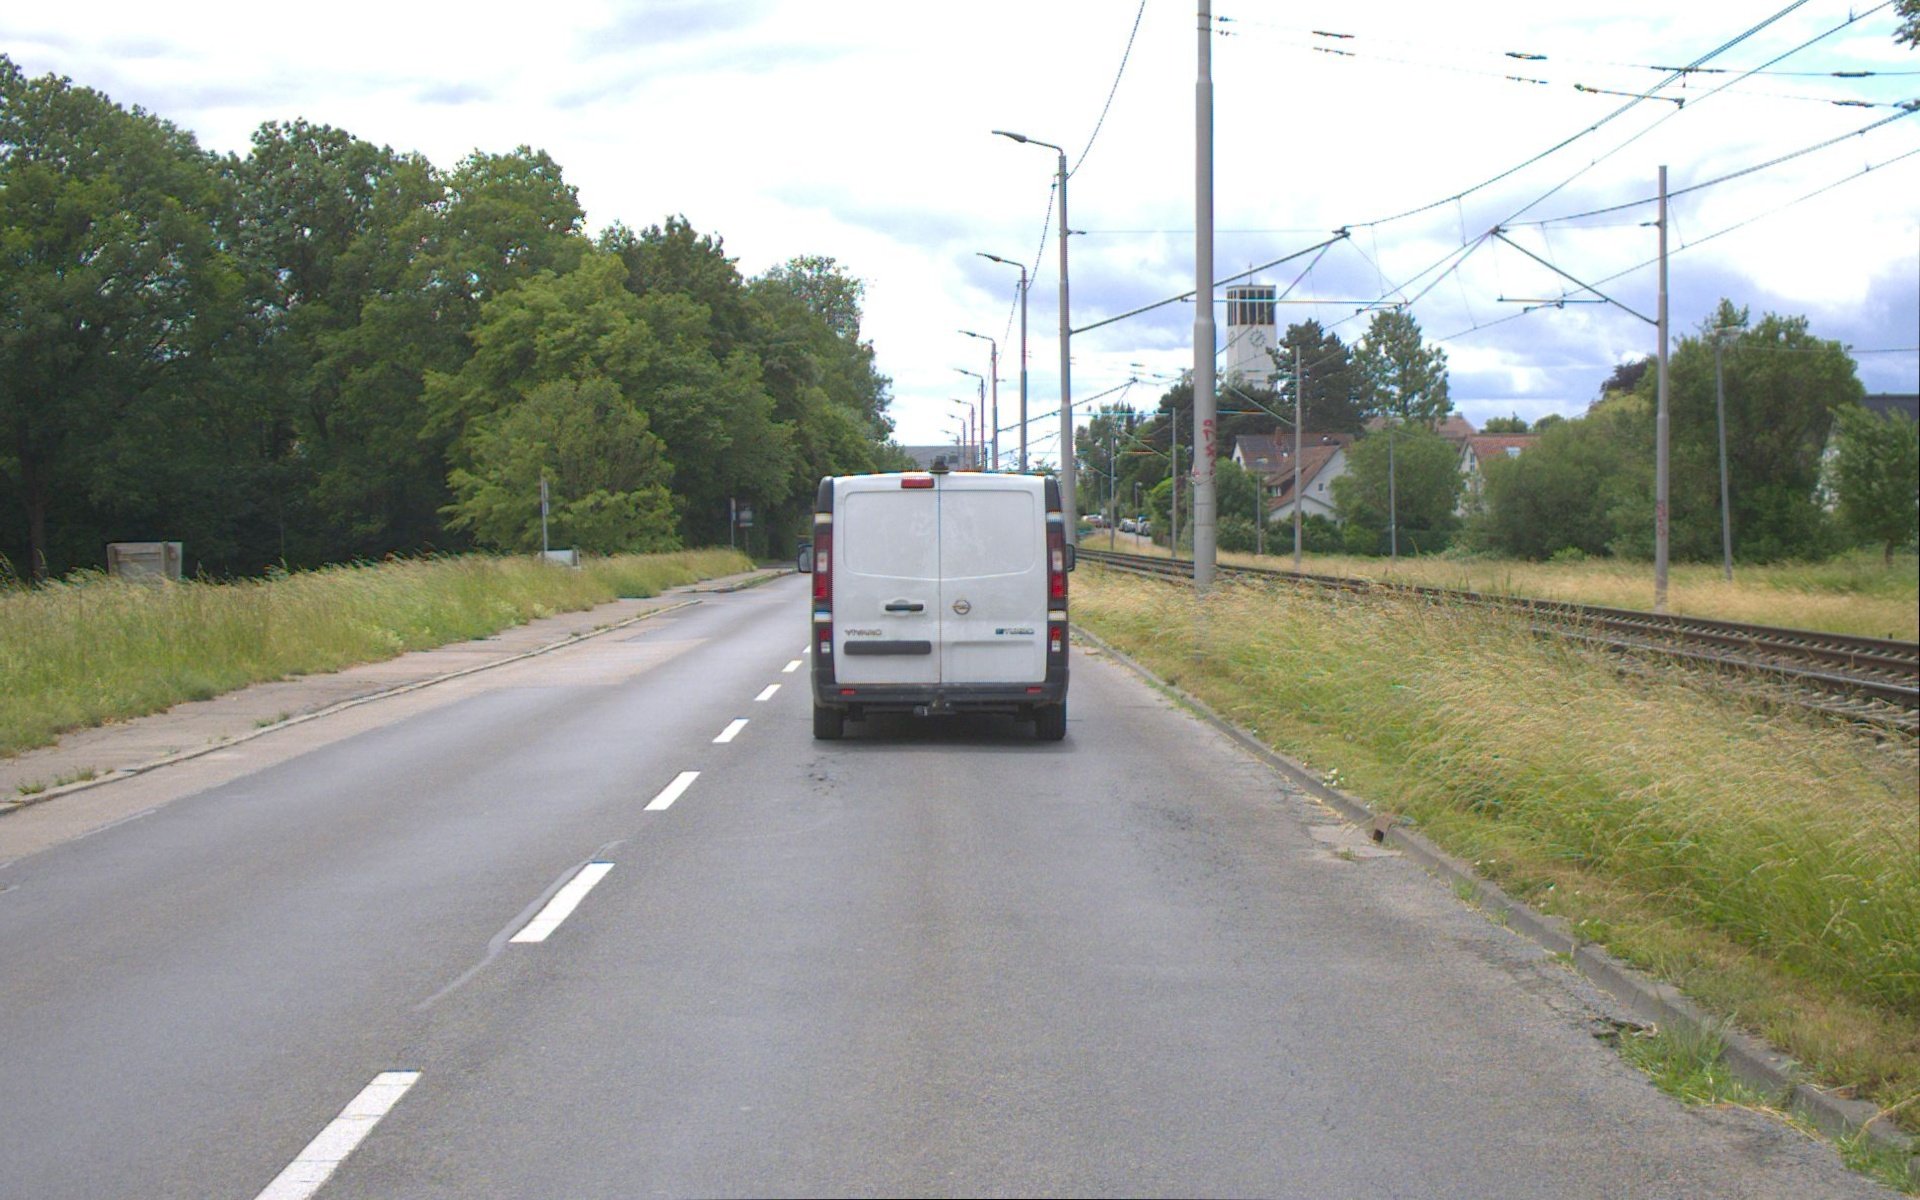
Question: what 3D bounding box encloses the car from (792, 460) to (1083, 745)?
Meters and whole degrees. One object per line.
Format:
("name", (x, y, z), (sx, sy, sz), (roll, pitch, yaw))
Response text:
("car", (-0.210, -0.015, 25.943), (1.993, 1.950, 4.000), (-1, 1, -2))
